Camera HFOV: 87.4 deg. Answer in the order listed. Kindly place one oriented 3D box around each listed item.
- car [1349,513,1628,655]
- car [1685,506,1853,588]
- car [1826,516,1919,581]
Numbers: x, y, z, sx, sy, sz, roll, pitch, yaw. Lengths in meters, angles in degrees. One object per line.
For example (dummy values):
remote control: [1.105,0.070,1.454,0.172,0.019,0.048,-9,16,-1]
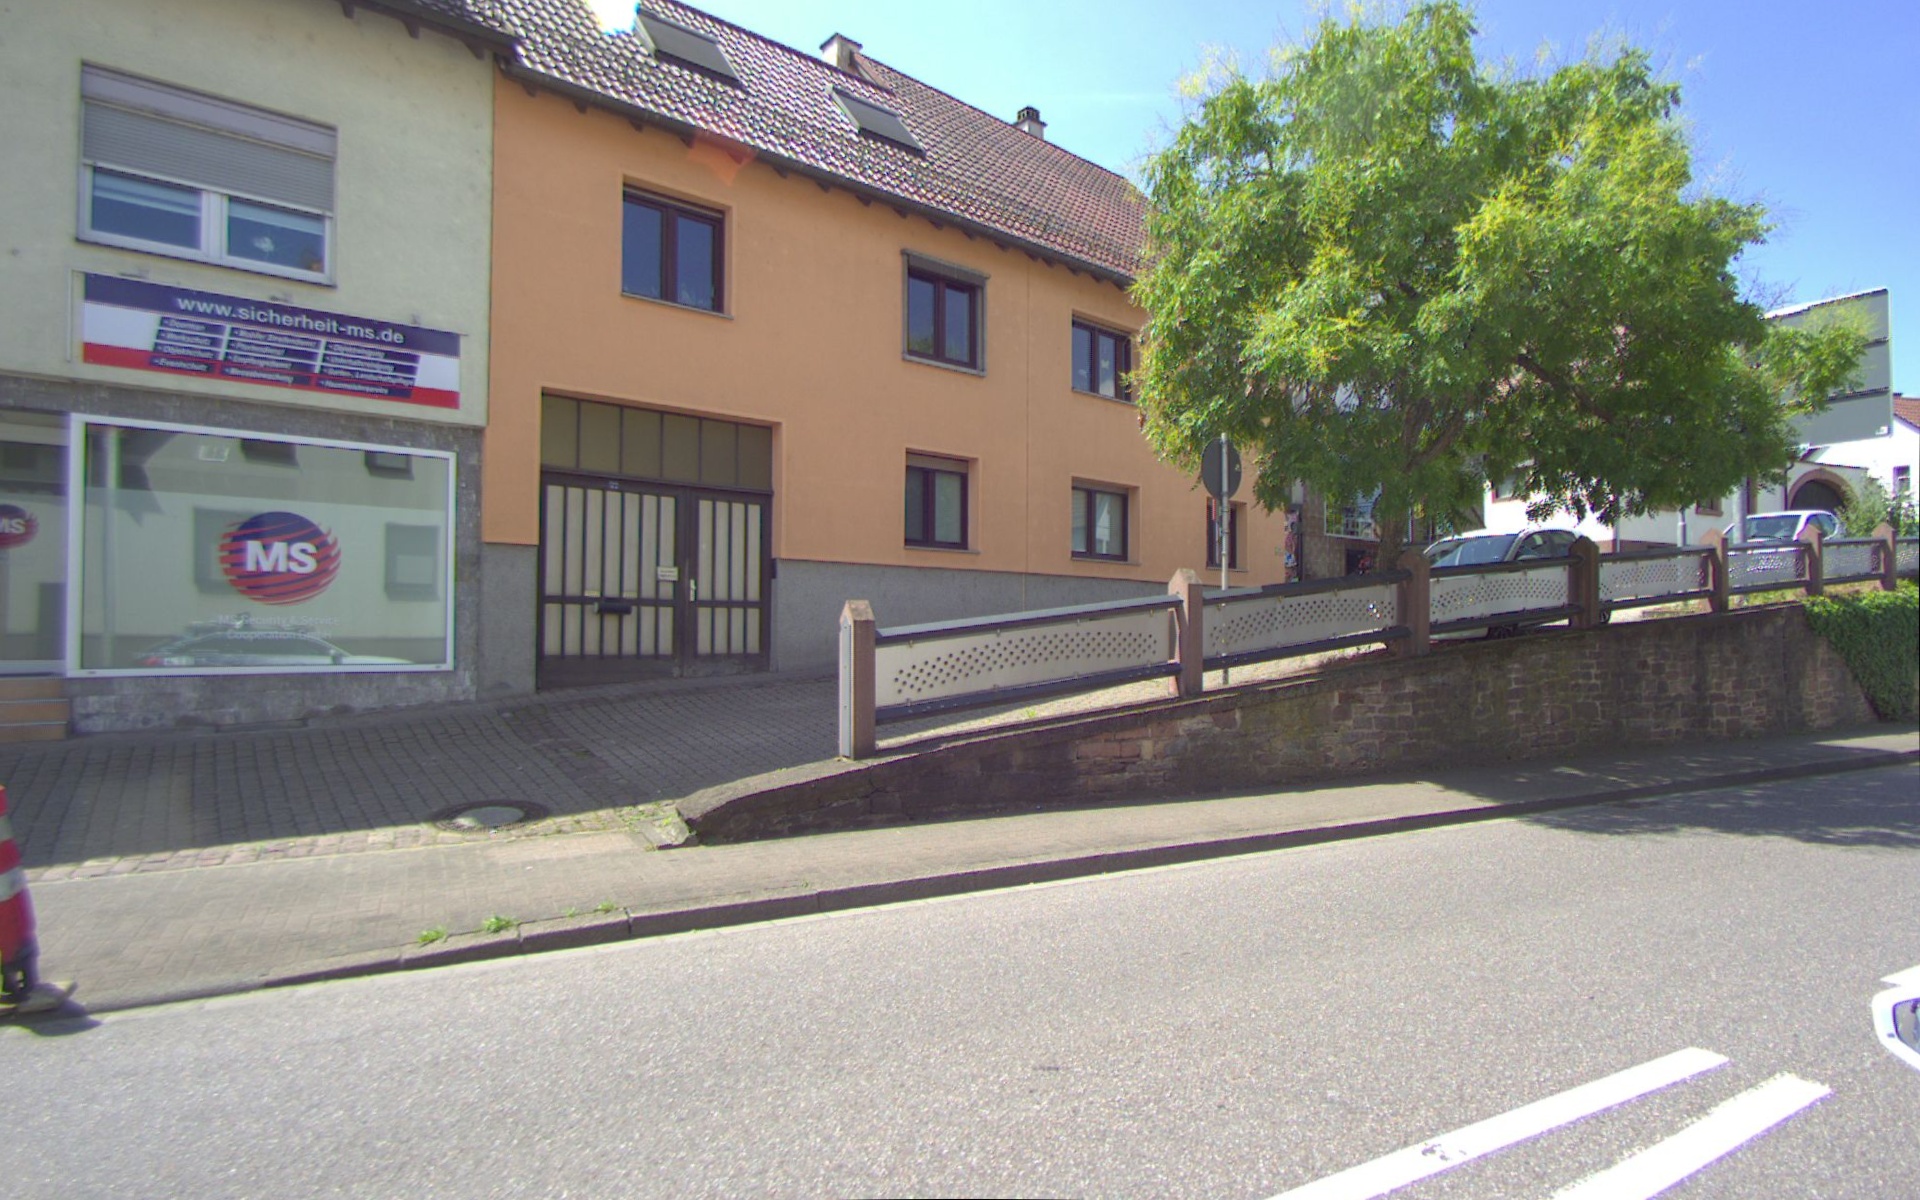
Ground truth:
car: [7.295,-0.259,13.769,3.813,1.564,1.684,-6,2,-33]
car: [16.829,-1.110,20.848,3.813,1.380,1.568,-6,2,-33]
car: [23.391,-1.339,25.118,3.813,1.380,1.568,-6,2,-33]
